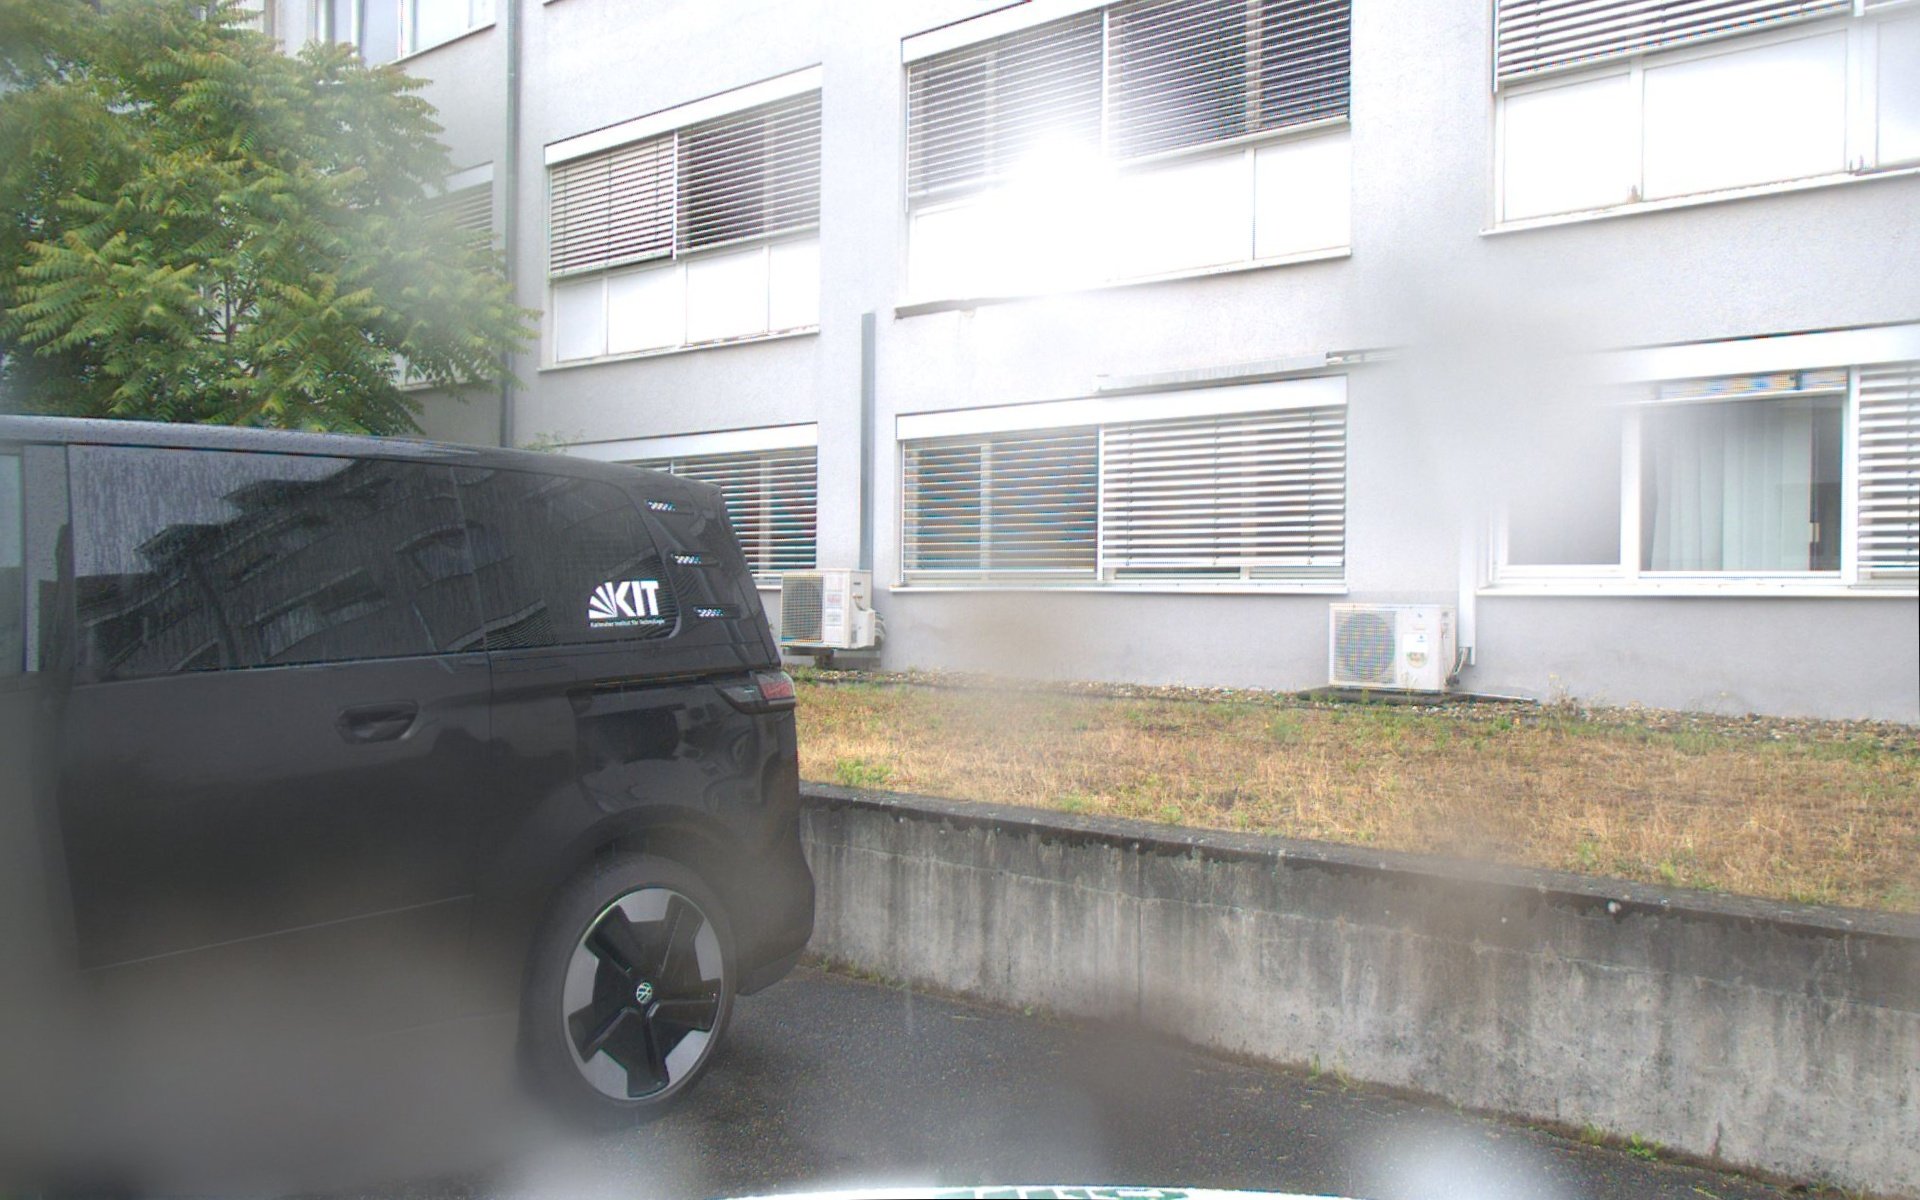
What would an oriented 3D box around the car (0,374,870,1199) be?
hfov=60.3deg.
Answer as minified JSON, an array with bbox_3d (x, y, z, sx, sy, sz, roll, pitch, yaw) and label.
[{"bbox_3d":[-2.464,0.536,4.020,2.008,1.930,4.500,-1,0,39],"label":"car"}]
